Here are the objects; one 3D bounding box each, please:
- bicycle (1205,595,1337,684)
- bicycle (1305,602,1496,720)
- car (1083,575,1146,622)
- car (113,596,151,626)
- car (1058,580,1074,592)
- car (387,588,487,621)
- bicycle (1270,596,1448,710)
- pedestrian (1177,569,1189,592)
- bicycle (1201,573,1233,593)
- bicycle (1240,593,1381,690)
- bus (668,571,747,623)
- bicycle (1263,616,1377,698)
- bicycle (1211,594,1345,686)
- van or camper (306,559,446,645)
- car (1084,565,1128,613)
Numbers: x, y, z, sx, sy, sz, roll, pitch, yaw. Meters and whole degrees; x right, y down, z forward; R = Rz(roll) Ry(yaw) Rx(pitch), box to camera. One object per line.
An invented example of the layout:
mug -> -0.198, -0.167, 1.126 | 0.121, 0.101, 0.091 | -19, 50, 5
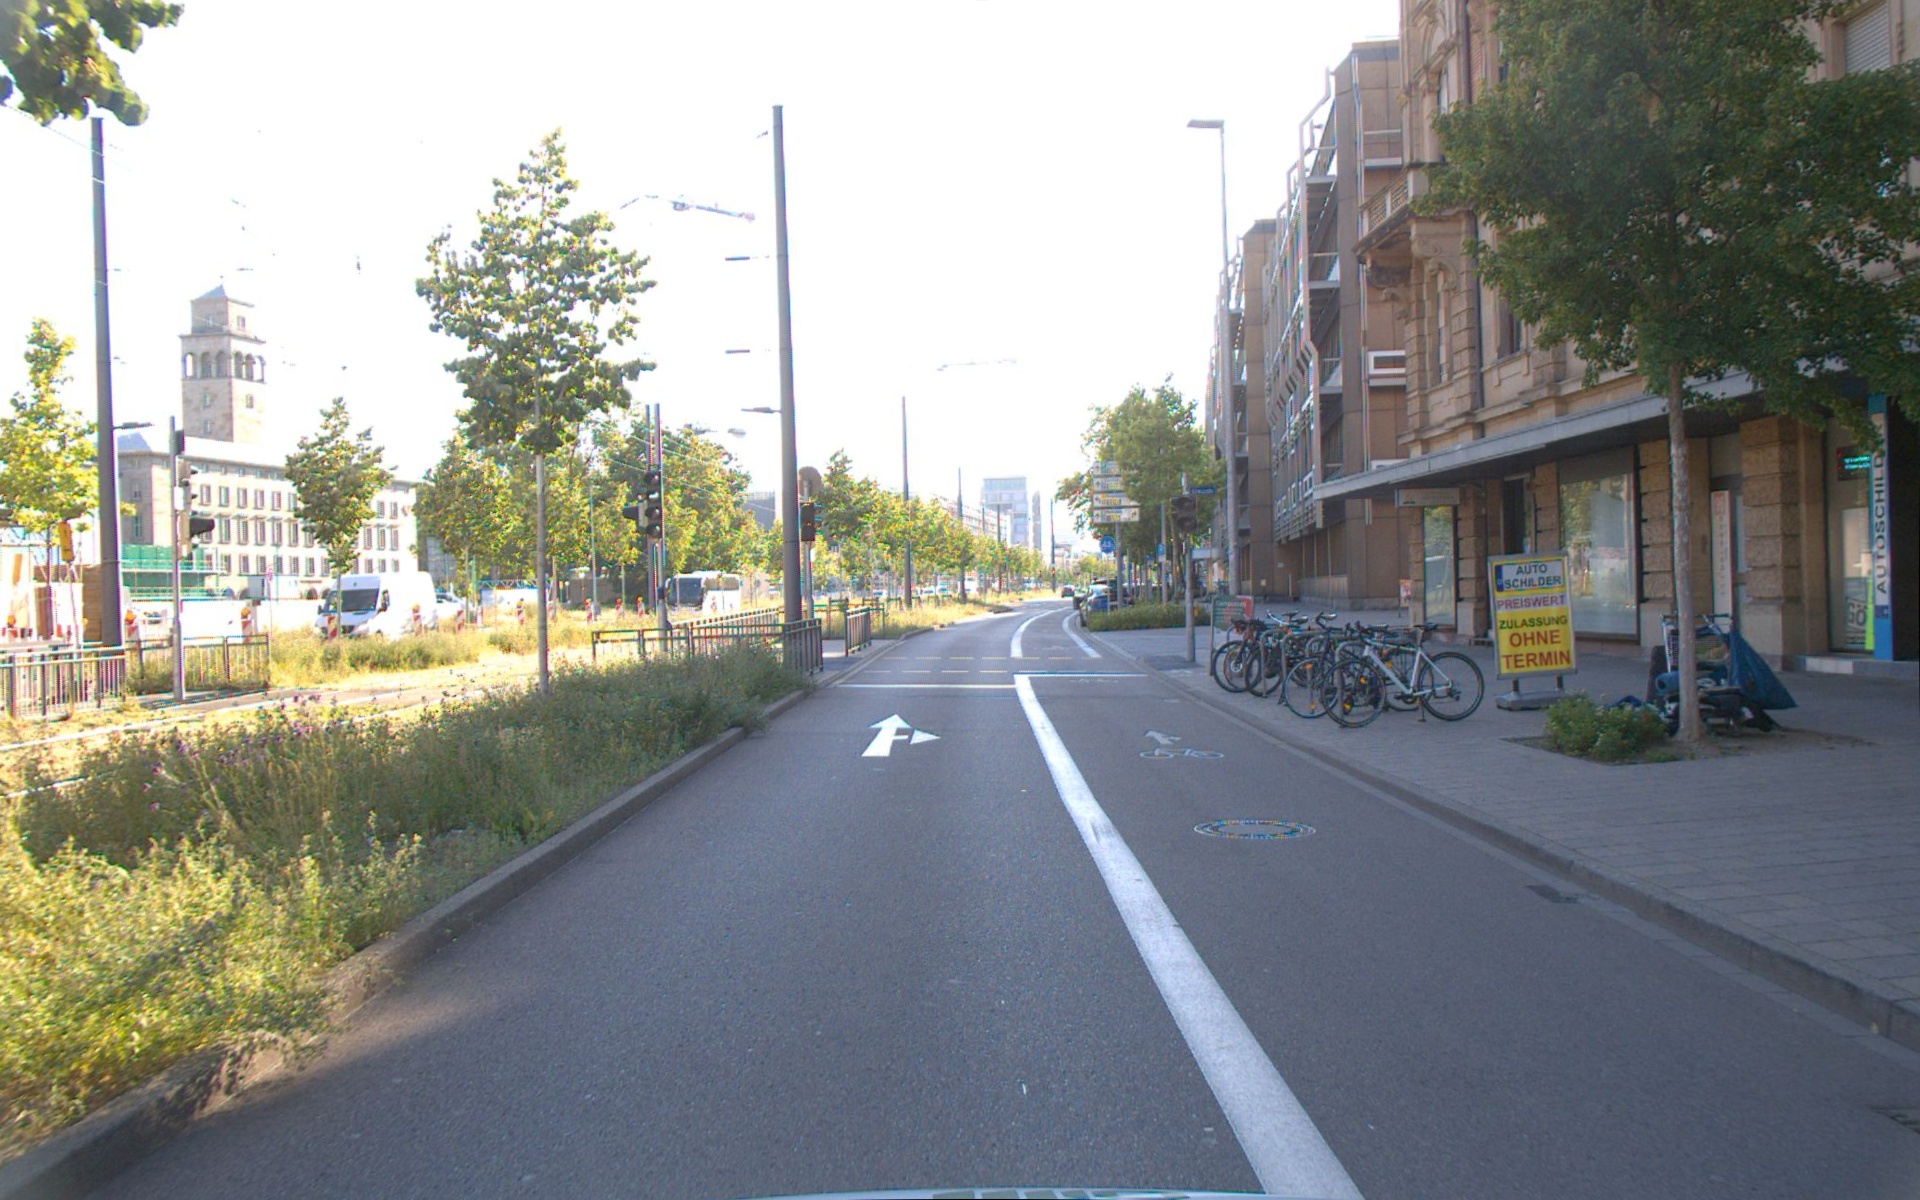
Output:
bicycle -> 4.396, 0.551, 23.446 | 1.717, 1.123, 0.507 | -4, 0, 4
bicycle -> 4.498, 0.618, 16.967 | 1.767, 1.065, 0.566 | -4, 0, 4
car -> 5.969, -0.074, 64.569 | 1.892, 1.626, 4.698 | -3, 0, -1
car -> -48.376, 0.640, 96.640 | 1.386, 1.664, 4.201 | -1, 0, -19
car -> 13.274, -1.701, 206.579 | 1.739, 1.453, 4.003 | 0, 1, 6
car -> -30.445, 0.254, 96.389 | 5.116, 1.747, 2.126 | -1, 0, 4
bicycle -> 4.440, 0.589, 18.478 | 1.806, 1.123, 0.566 | -4, 0, 4
pedestrian -> 16.900, -1.468, 125.389 | 0.772, 1.677, 1.137 | -2, 0, 6
bicycle -> 15.917, -1.052, 102.482 | 1.860, 1.112, 0.392 | -3, 0, 0
bicycle -> 4.560, 0.535, 21.575 | 1.685, 1.123, 0.507 | -4, 0, 4
bus -> -18.952, -0.285, 125.341 | 2.740, 3.657, 12.707 | -1, 0, 6
bicycle -> 4.375, 0.689, 20.129 | 1.248, 0.892, 0.507 | -4, 0, 4
bicycle -> 4.381, 0.548, 22.855 | 1.717, 1.123, 0.507 | -4, 0, 4
van or camper -> -19.521, 0.001, 55.757 | 2.177, 2.553, 7.199 | -3, 1, -1
car -> 6.347, -0.485, 72.249 | 1.698, 1.952, 4.395 | -3, 0, 3
